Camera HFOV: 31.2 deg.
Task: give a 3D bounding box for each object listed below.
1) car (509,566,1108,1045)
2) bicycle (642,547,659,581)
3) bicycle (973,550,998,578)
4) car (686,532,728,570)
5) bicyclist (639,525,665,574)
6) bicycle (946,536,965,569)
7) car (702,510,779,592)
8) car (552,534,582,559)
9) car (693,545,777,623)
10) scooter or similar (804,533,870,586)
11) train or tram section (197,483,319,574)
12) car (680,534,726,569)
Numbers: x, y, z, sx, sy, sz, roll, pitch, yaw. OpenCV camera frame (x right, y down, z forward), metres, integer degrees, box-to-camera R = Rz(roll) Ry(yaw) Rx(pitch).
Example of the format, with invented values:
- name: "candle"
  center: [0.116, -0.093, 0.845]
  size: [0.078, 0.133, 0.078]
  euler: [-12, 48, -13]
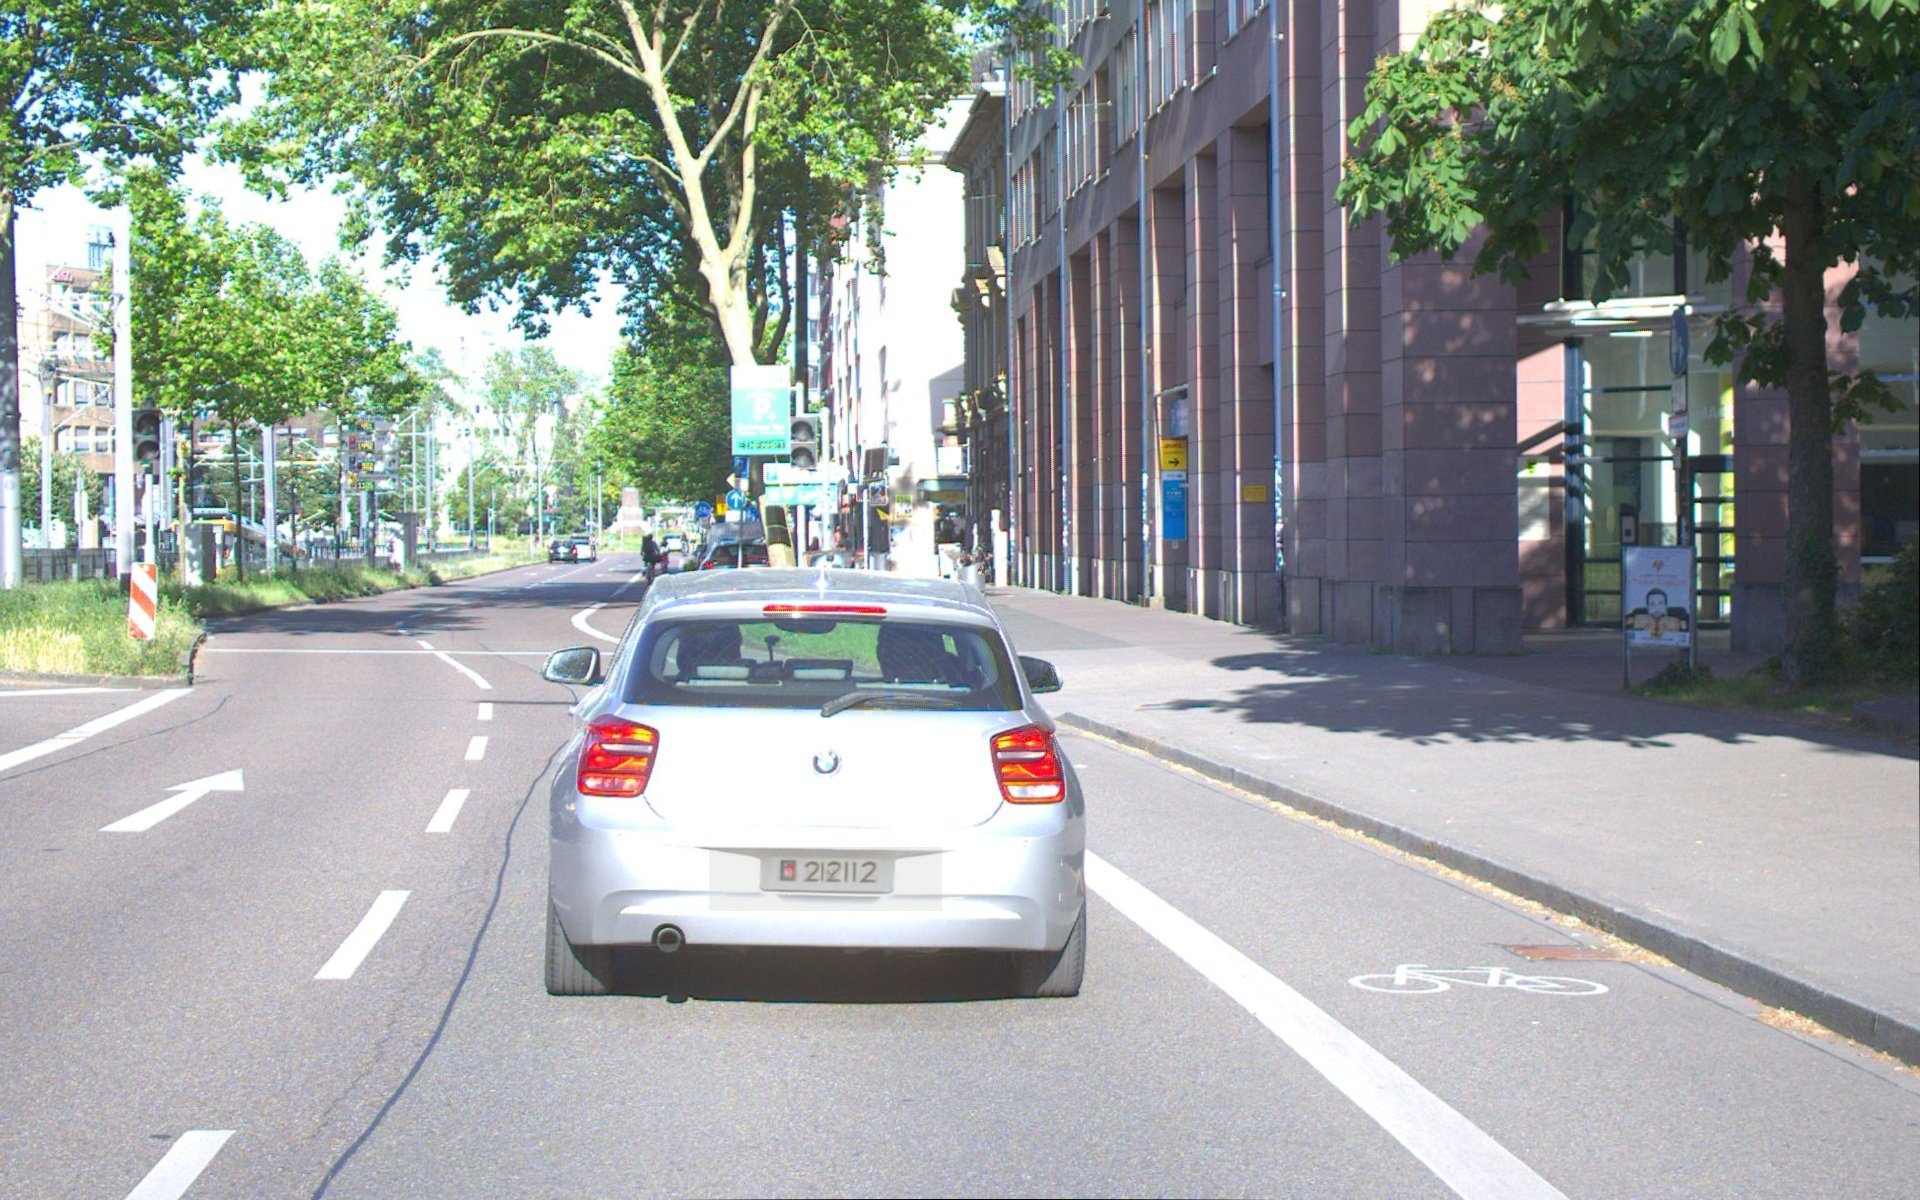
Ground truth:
- name: "car"
  center: [-0.536, 0.612, 12.497]
  size: [1.798, 1.410, 4.000]
  euler: [1, 1, -2]
- name: "bicycle"
  center: [-9.815, -1.147, 109.145]
  size: [0.499, 1.085, 1.997]
  euler: [1, 1, -4]
- name: "bicycle"
  center: [0.718, -1.027, 98.143]
  size: [0.548, 0.771, 1.663]
  euler: [-2, 1, -5]
- name: "car"
  center: [-10.866, -2.100, 147.527]
  size: [1.694, 1.497, 3.802]
  euler: [-3, 2, -5]
- name: "bicyclist"
  center: [-9.794, -1.603, 109.215]
  size: [0.785, 1.526, 0.895]
  euler: [1, 1, -4]
- name: "bicycle"
  center: [-0.143, -1.459, 105.534]
  size: [0.414, 0.994, 1.883]
  euler: [0, 1, -5]
- name: "car"
  center: [-5.700, -1.273, 88.889]
  size: [1.856, 2.007, 4.725]
  euler: [1, 1, -5]
- name: "car"
  center: [-23.155, -3.155, 202.264]
  size: [1.726, 1.465, 4.411]
  euler: [0, 1, -7]
- name: "car"
  center: [-4.717, -0.360, 72.374]
  size: [1.668, 1.565, 4.280]
  euler: [1, 1, -3]
- name: "scooter or similar"
  center: [-2.921, -0.964, 81.794]
  size: [1.540, 1.233, 0.449]
  euler: [-1, 1, -4]
- name: "train or tram section"
  center: [-29.112, -3.002, 143.511]
  size: [2.963, 3.472, 21.223]
  euler: [1, 1, -6]
- name: "car"
  center: [-11.588, -2.196, 155.087]
  size: [2.038, 1.504, 4.594]
  euler: [0, 1, -5]
